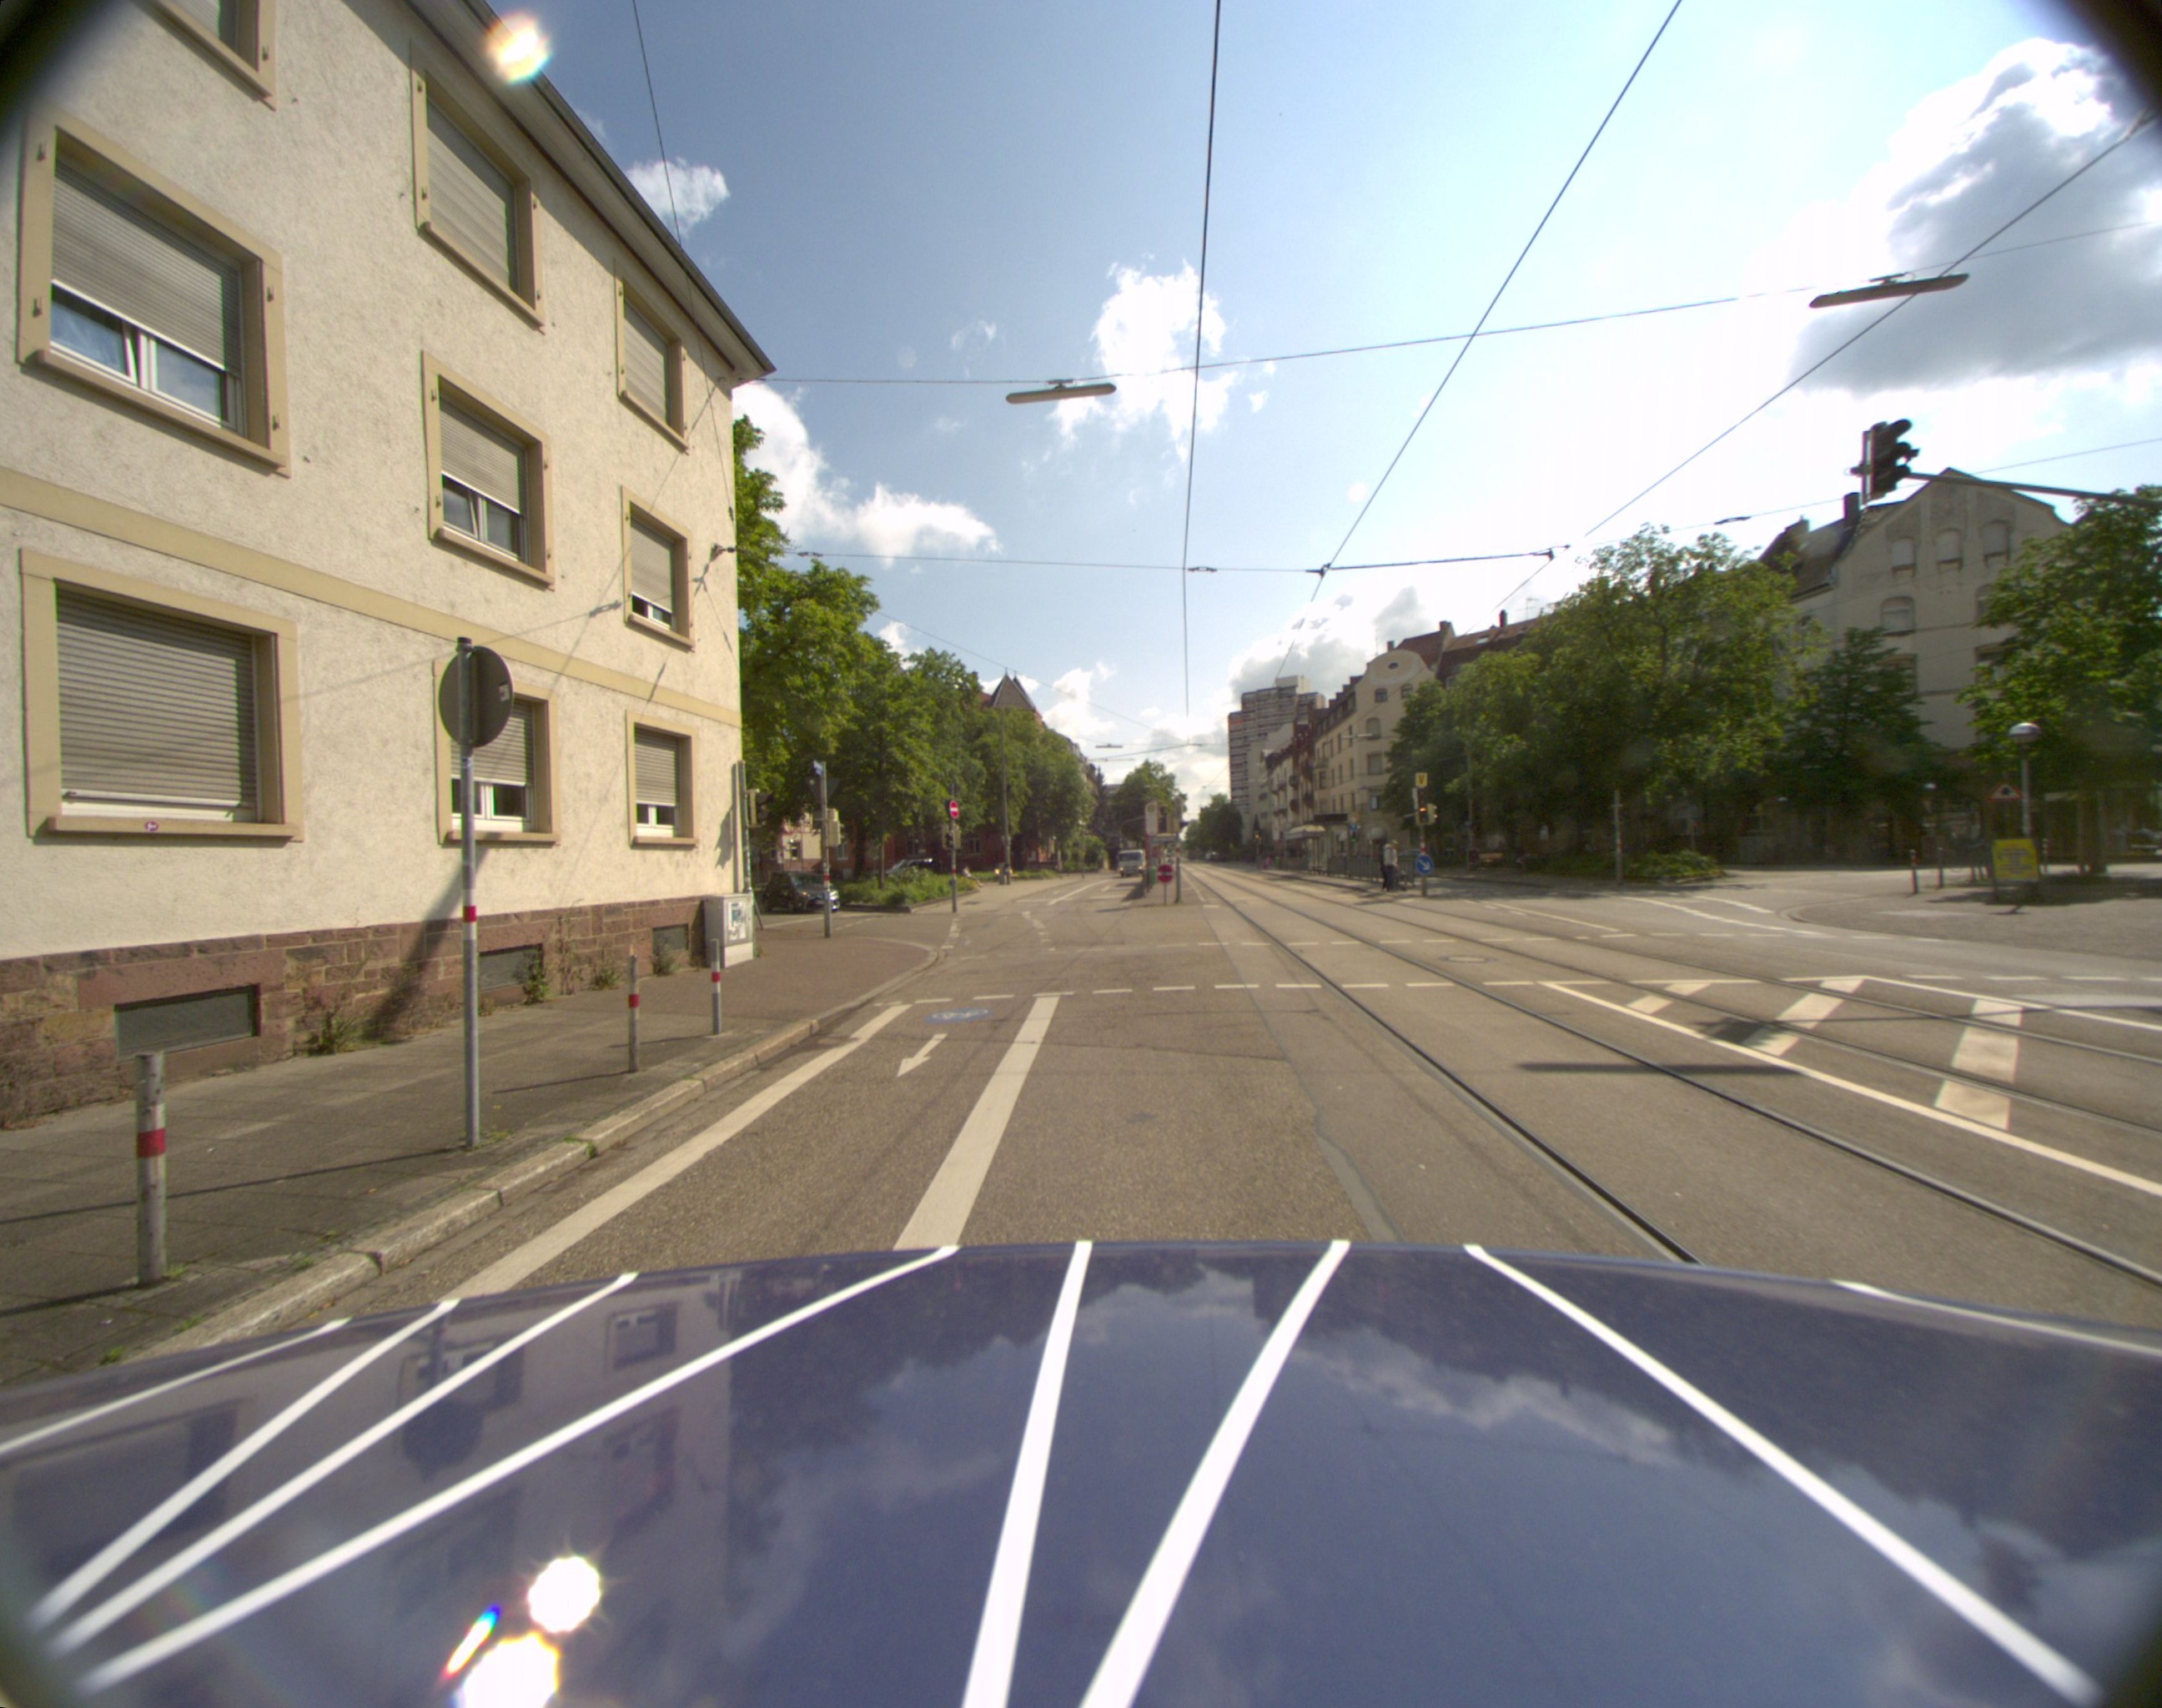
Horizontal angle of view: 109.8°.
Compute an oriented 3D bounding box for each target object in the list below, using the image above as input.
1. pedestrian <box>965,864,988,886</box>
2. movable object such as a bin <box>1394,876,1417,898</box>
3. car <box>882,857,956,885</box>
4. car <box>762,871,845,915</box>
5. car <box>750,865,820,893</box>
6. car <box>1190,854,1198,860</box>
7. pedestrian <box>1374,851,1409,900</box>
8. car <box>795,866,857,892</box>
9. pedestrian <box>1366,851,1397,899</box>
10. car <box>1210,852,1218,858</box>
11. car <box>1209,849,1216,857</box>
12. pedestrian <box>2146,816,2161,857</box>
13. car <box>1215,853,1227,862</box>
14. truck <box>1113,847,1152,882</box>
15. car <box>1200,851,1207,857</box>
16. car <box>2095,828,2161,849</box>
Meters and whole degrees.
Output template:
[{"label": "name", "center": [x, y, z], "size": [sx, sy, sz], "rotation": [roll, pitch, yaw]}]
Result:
[{"label": "pedestrian", "center": [-5.768, 1.163, 42.028], "size": [1.159, 1.195, 0.907], "rotation": [1, 0, -1]}, {"label": "movable object such as a bin", "center": [10.920, 1.100, 25.574], "size": [0.512, 0.713, 0.457], "rotation": [-2, 0, -7]}, {"label": "car", "center": [-12.616, 1.289, 59.405], "size": [2.278, 2.001, 5.299], "rotation": [-2, -1, 39]}, {"label": "car", "center": [-10.289, 1.411, 28.080], "size": [1.633, 1.481, 3.721], "rotation": [0, -2, -41]}, {"label": "car", "center": [-20.116, 1.688, 51.685], "size": [3.997, 1.543, 1.651], "rotation": [-4, 0, 1]}, {"label": "car", "center": [30.273, 0.699, 203.227], "size": [1.840, 1.482, 3.894], "rotation": [-2, 0, 6]}, {"label": "pedestrian", "center": [10.210, 0.708, 24.989], "size": [0.782, 1.565, 0.693], "rotation": [-2, 0, -7]}, {"label": "car", "center": [-23.642, 2.309, 70.382], "size": [5.221, 2.255, 2.288], "rotation": [-2, 0, 26]}, {"label": "pedestrian", "center": [10.165, 0.711, 25.695], "size": [0.715, 1.565, 0.585], "rotation": [-2, 0, -7]}, {"label": "car", "center": [34.517, 0.357, 197.026], "size": [1.840, 1.482, 3.894], "rotation": [-2, 0, 6]}, {"label": "car", "center": [39.047, -0.337, 225.353], "size": [1.840, 2.179, 3.894], "rotation": [-2, 0, 6]}, {"label": "pedestrian", "center": [52.456, -0.865, 36.817], "size": [0.715, 2.002, 0.691], "rotation": [-2, 0, -6]}, {"label": "car", "center": [26.039, 0.636, 141.549], "size": [1.840, 1.482, 3.894], "rotation": [-2, 0, 6]}, {"label": "truck", "center": [4.465, 0.848, 64.777], "size": [2.529, 2.721, 6.520], "rotation": [-2, 0, 10]}, {"label": "car", "center": [38.630, -0.061, 239.283], "size": [1.840, 1.799, 3.894], "rotation": [-2, 0, 6]}, {"label": "car", "center": [70.988, -1.016, 51.188], "size": [1.458, 1.324, 3.770], "rotation": [-2, 0, 23]}]
